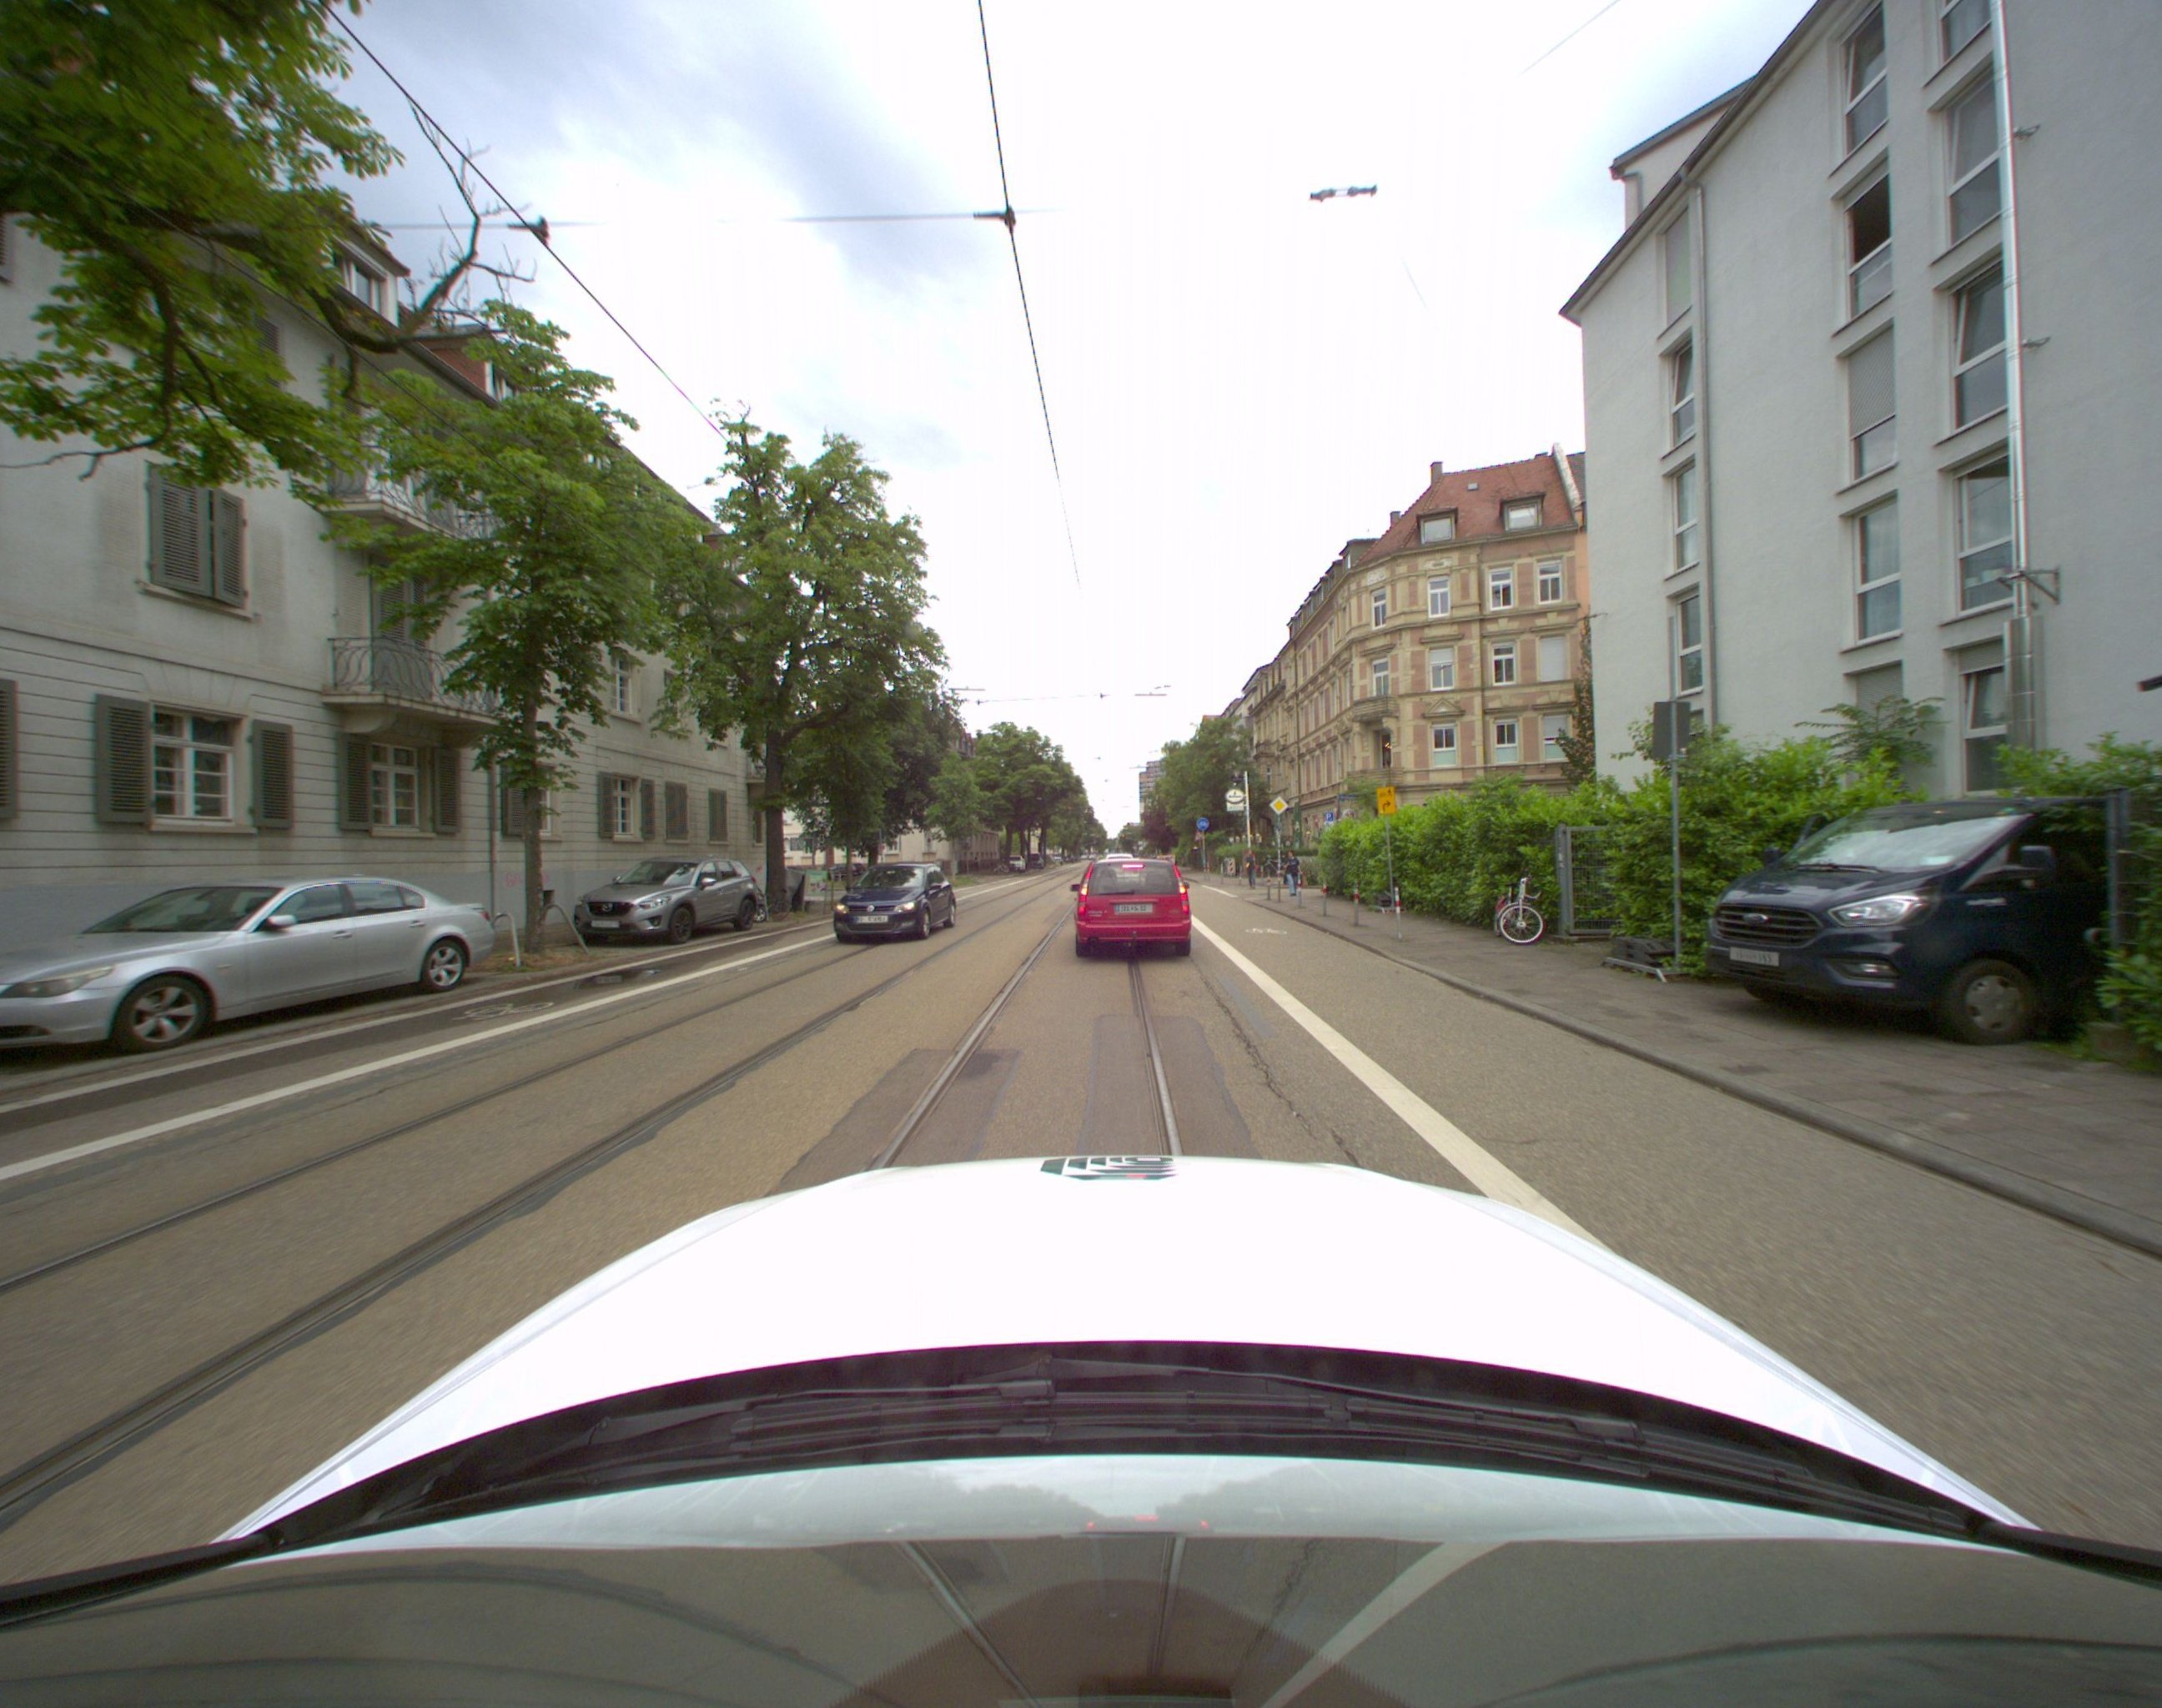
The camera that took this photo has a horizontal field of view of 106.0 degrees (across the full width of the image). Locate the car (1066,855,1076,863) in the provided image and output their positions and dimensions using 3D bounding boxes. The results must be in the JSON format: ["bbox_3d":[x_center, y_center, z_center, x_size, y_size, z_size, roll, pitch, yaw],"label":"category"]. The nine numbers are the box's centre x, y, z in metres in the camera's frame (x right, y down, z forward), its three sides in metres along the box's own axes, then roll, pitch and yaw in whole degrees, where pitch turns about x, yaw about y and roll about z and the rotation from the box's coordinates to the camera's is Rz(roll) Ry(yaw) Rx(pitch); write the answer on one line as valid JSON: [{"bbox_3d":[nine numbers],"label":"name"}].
[{"bbox_3d":[-1.935,1.006,161.034,1.844,1.563,3.945,-1,0,2],"label":"car"}]

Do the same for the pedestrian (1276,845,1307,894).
[{"bbox_3d":[7.247,0.535,28.052,0.790,1.636,0.836,-3,-1,2],"label":"pedestrian"}]

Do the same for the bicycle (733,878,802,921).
[{"bbox_3d":[-8.075,1.162,21.012,1.369,1.005,0.931,1,0,6],"label":"bicycle"}]

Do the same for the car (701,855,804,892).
[{"bbox_3d":[-15.857,0.931,39.339,4.463,1.663,1.949,-1,0,21],"label":"car"}]

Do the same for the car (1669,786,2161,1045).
[{"bbox_3d":[7.778,0.419,6.831,4.262,1.809,1.825,-2,0,3],"label":"car"}]

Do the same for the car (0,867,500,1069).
[{"bbox_3d":[-8.699,0.916,8.522,1.805,1.466,4.615,-1,0,2],"label":"car"}]

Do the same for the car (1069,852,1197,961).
[{"bbox_3d":[0.766,0.703,12.728,1.682,1.441,3.745,0,0,2],"label":"car"}]

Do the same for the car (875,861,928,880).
[{"bbox_3d":[-13.967,1.291,63.285,3.715,1.307,1.751,-2,-1,25],"label":"car"}]

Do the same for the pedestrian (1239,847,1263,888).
[{"bbox_3d":[7.072,0.548,33.894,0.866,1.656,0.912,-1,0,14],"label":"pedestrian"}]

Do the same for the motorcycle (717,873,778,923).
[{"bbox_3d":[-8.277,1.078,20.214,1.278,1.222,0.549,0,0,8],"label":"motorcycle"}]

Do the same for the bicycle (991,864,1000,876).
[{"bbox_3d":[-6.866,1.308,65.587,0.481,0.958,1.399,-2,0,4],"label":"bicycle"}]

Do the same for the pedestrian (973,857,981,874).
[{"bbox_3d":[-9.327,1.007,72.883,0.562,1.467,0.723,-2,-1,2],"label":"pedestrian"}]

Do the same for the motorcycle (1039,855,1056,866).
[{"bbox_3d":[-4.759,0.873,116.128,2.243,1.511,0.932,-2,-2,37],"label":"motorcycle"}]

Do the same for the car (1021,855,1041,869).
[{"bbox_3d":[-5.702,0.904,93.938,1.770,1.511,4.241,-1,0,3],"label":"car"}]

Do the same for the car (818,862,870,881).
[{"bbox_3d":[-19.244,1.401,66.121,3.896,1.464,1.716,-1,0,25],"label":"car"}]

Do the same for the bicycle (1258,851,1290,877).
[{"bbox_3d":[9.923,0.512,41.894,1.593,1.277,0.515,-1,0,13],"label":"bicycle"}]

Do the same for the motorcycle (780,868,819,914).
[{"bbox_3d":[-8.375,1.069,24.329,0.539,1.257,2.139,-1,0,-4],"label":"motorcycle"}]

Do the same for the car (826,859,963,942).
[{"bbox_3d":[-3.559,0.833,16.171,1.722,1.408,3.657,-1,0,2],"label":"car"}]

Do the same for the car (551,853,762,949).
[{"bbox_3d":[-8.383,0.831,16.615,1.830,1.661,4.297,1,0,3],"label":"car"}]

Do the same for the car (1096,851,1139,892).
[{"bbox_3d":[1.627,0.709,34.974,1.711,1.625,3.945,-1,0,4],"label":"car"}]

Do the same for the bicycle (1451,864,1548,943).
[{"bbox_3d":[6.754,0.758,13.253,0.630,1.127,1.813,-4,0,2],"label":"bicycle"}]

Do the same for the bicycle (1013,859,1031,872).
[{"bbox_3d":[-5.820,1.143,80.406,1.730,1.192,0.655,0,0,16],"label":"bicycle"}]

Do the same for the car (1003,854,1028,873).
[{"bbox_3d":[-6.003,0.838,75.037,1.890,1.655,4.226,-1,0,1],"label":"car"}]

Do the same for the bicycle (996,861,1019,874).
[{"bbox_3d":[-6.375,1.202,71.070,1.915,1.121,0.624,0,-1,1],"label":"bicycle"}]

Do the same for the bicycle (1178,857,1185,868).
[{"bbox_3d":[9.672,0.810,78.560,0.477,1.045,1.532,-2,0,3],"label":"bicycle"}]

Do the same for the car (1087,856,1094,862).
[{"bbox_3d":[2.490,1.329,212.113,1.749,1.380,4.028,-2,0,1],"label":"car"}]

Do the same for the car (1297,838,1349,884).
[{"bbox_3d":[10.893,0.278,36.512,2.036,1.877,5.052,-1,0,17],"label":"car"}]
